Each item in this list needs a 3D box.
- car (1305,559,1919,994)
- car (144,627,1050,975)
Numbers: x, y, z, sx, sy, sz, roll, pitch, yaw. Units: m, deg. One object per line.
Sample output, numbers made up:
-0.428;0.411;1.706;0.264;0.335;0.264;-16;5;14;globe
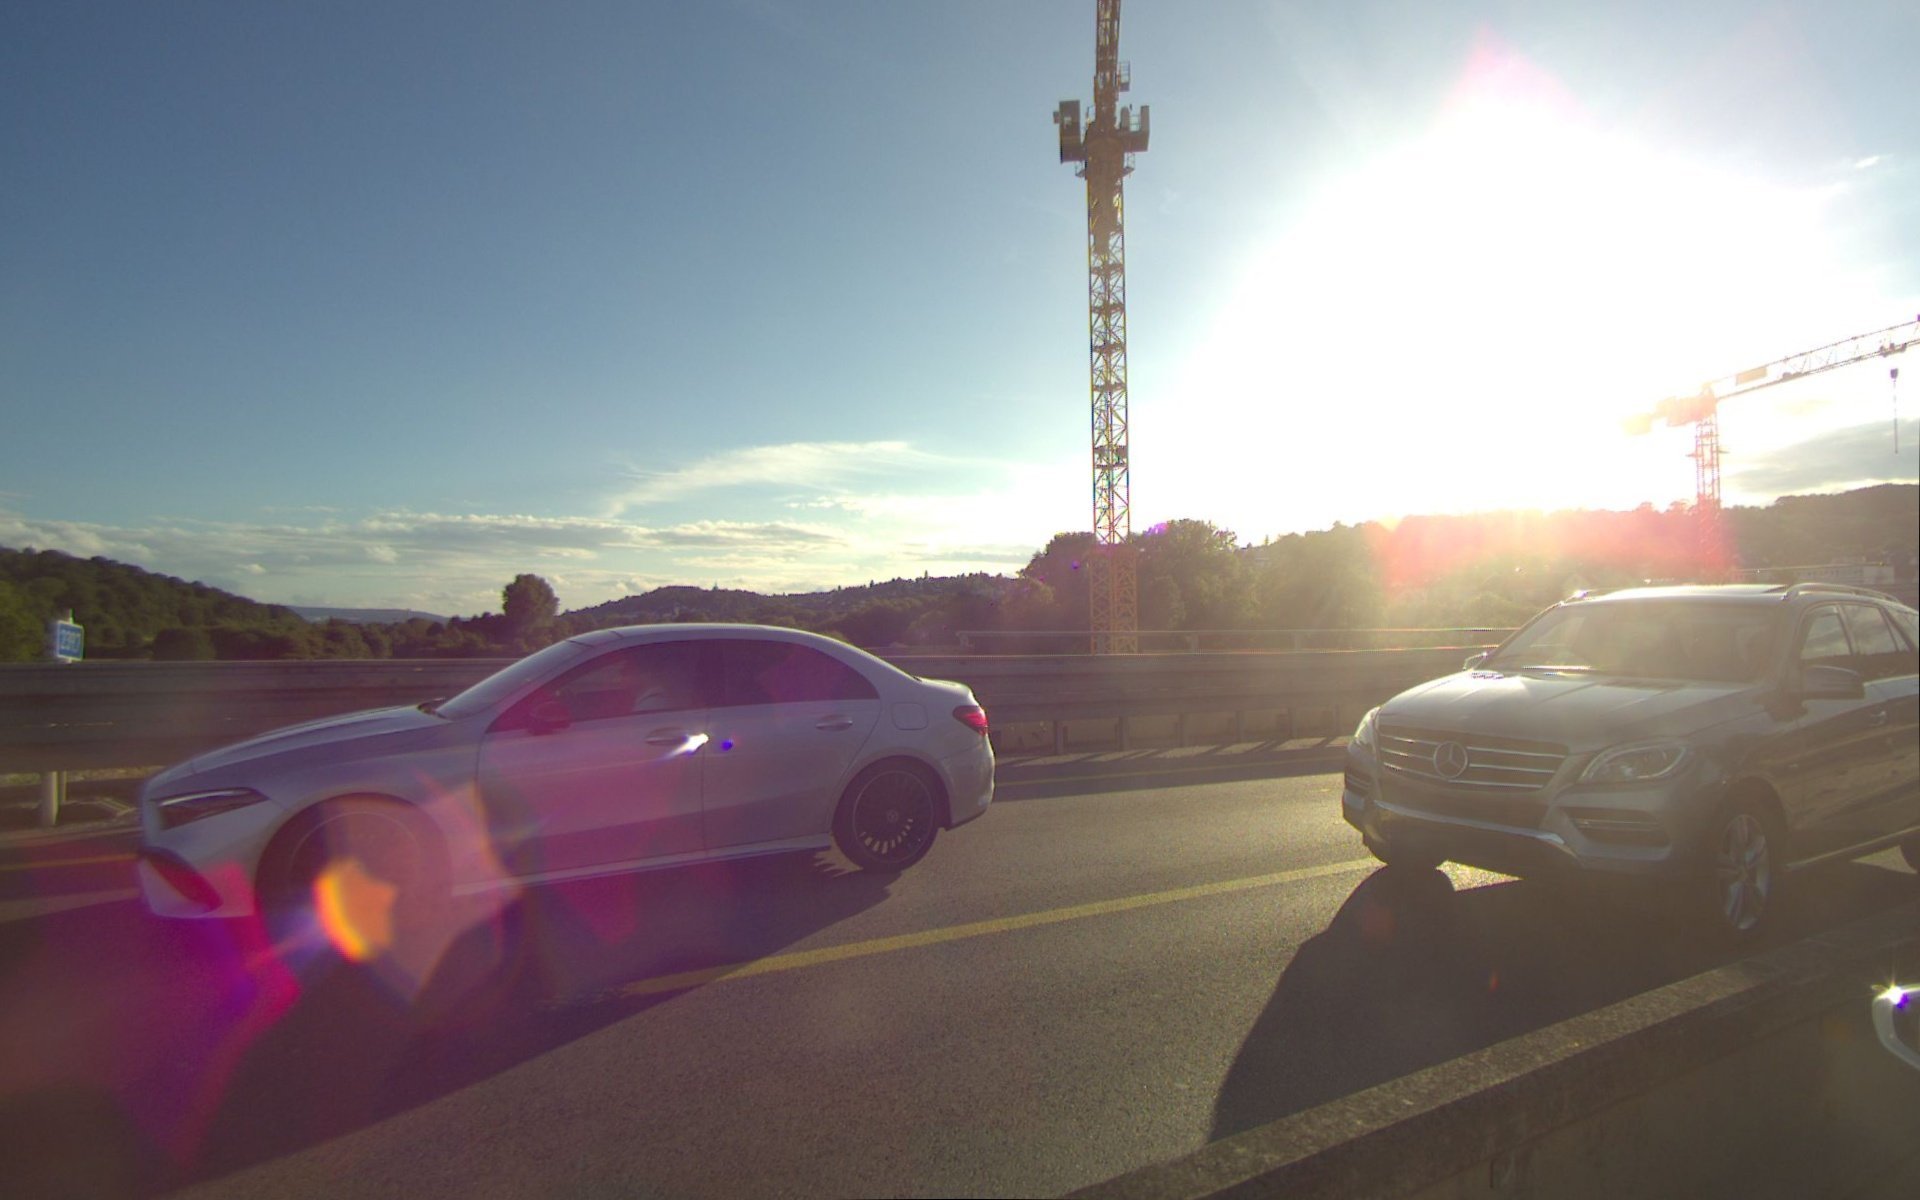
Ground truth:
4.473;0.765;6.181;4.607;1.782;1.984;1;-1;-31;car
-1.790;0.874;5.966;4.479;1.400;1.766;1;-2;-31;car
